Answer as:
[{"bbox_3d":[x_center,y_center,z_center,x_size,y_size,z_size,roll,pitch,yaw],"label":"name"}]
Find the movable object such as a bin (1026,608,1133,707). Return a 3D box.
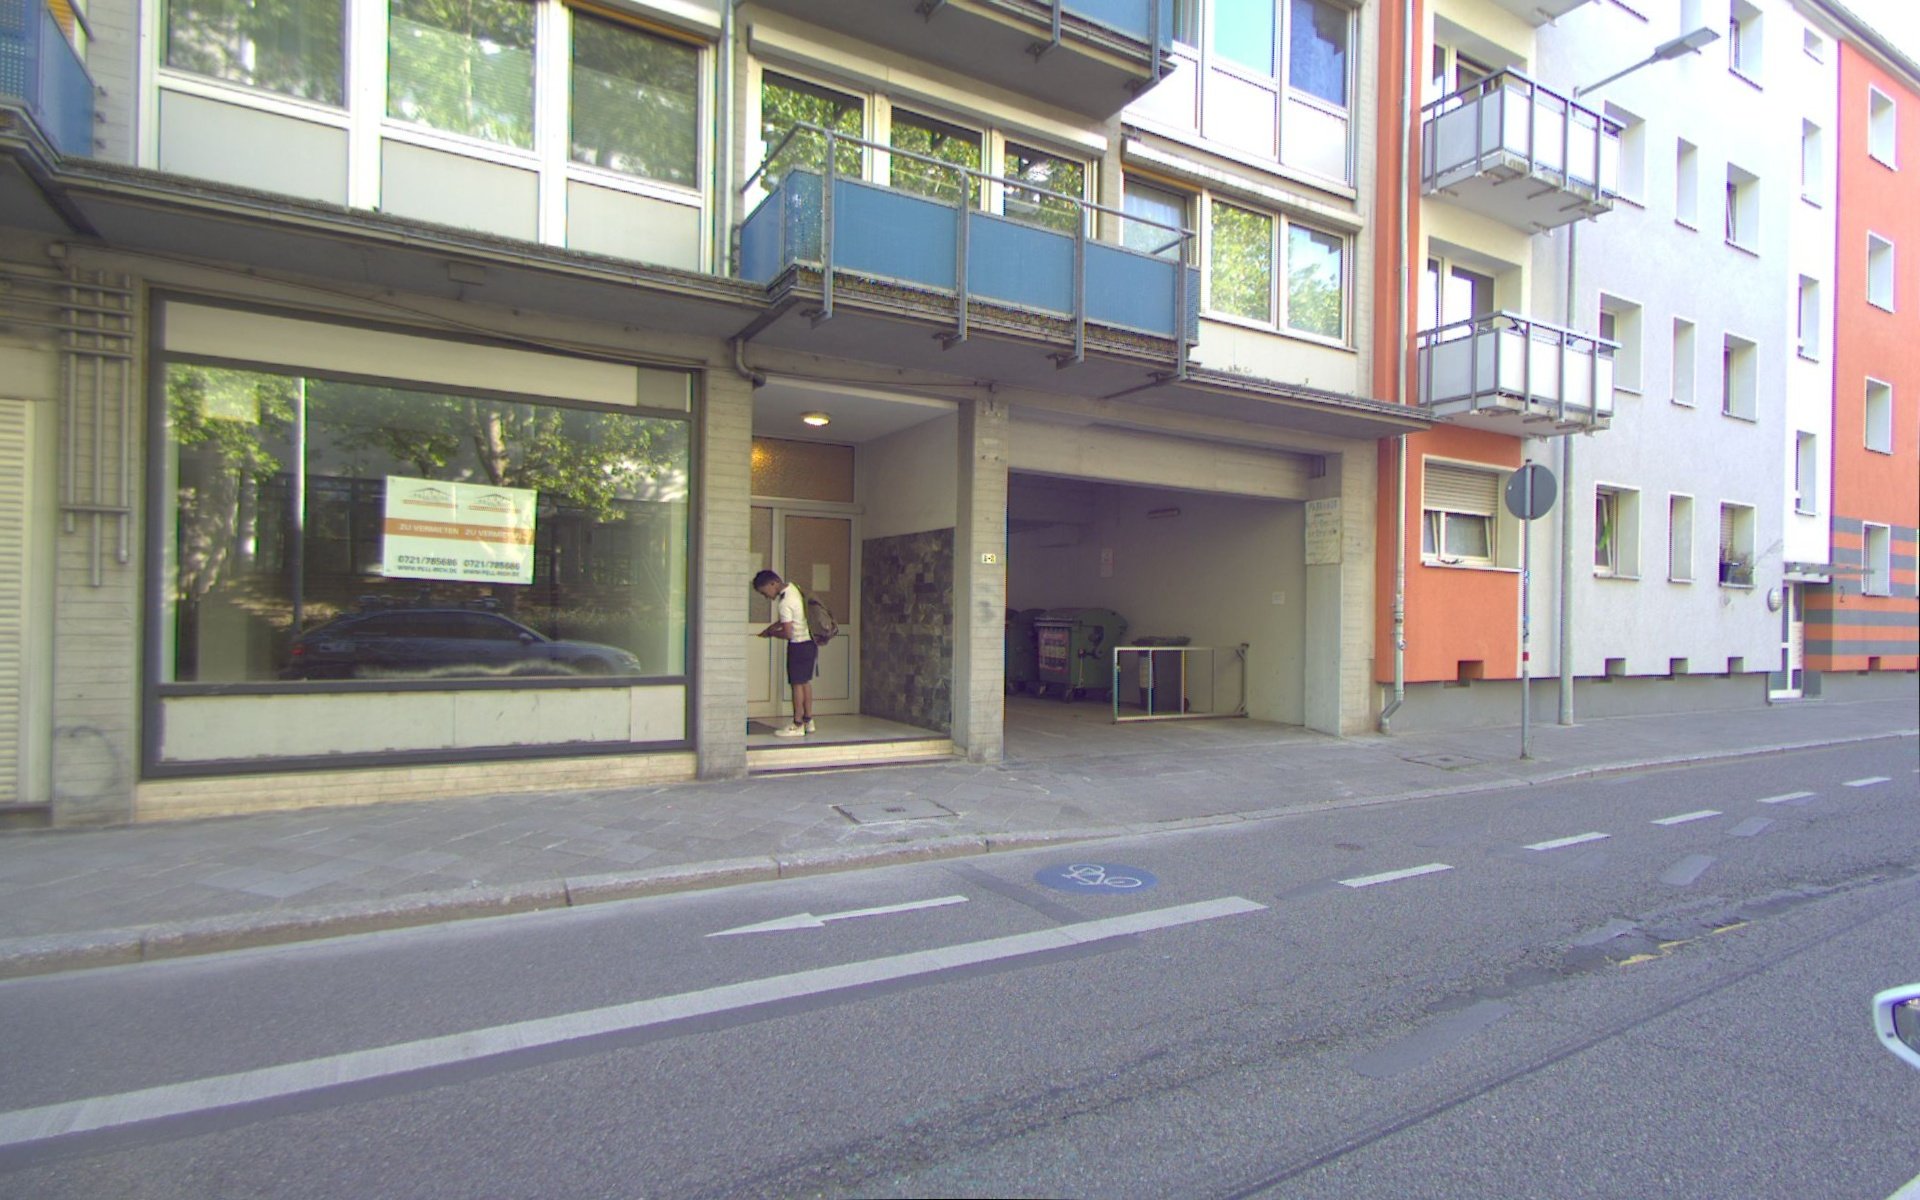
[{"bbox_3d":[1.870,0.879,15.812,1.120,1.444,1.268,2,0,-28],"label":"movable object such as a bin"}]

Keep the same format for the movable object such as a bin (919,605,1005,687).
[{"bbox_3d":[0.023,0.838,18.697,1.120,1.444,1.268,2,0,-28],"label":"movable object such as a bin"}]

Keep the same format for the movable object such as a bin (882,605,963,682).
[{"bbox_3d":[-0.747,0.842,19.789,1.120,1.444,1.268,2,0,-28],"label":"movable object such as a bin"}]

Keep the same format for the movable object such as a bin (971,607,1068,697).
[{"bbox_3d":[1.002,0.867,17.153,1.120,1.444,1.268,2,0,-28],"label":"movable object such as a bin"}]

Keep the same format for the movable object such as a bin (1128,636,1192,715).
[{"bbox_3d":[2.881,1.078,14.488,0.713,1.094,0.533,2,0,-29],"label":"movable object such as a bin"}]

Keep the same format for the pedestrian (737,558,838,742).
[{"bbox_3d":[-1.604,0.454,9.453,0.821,1.639,0.793,2,0,-4],"label":"pedestrian"}]
